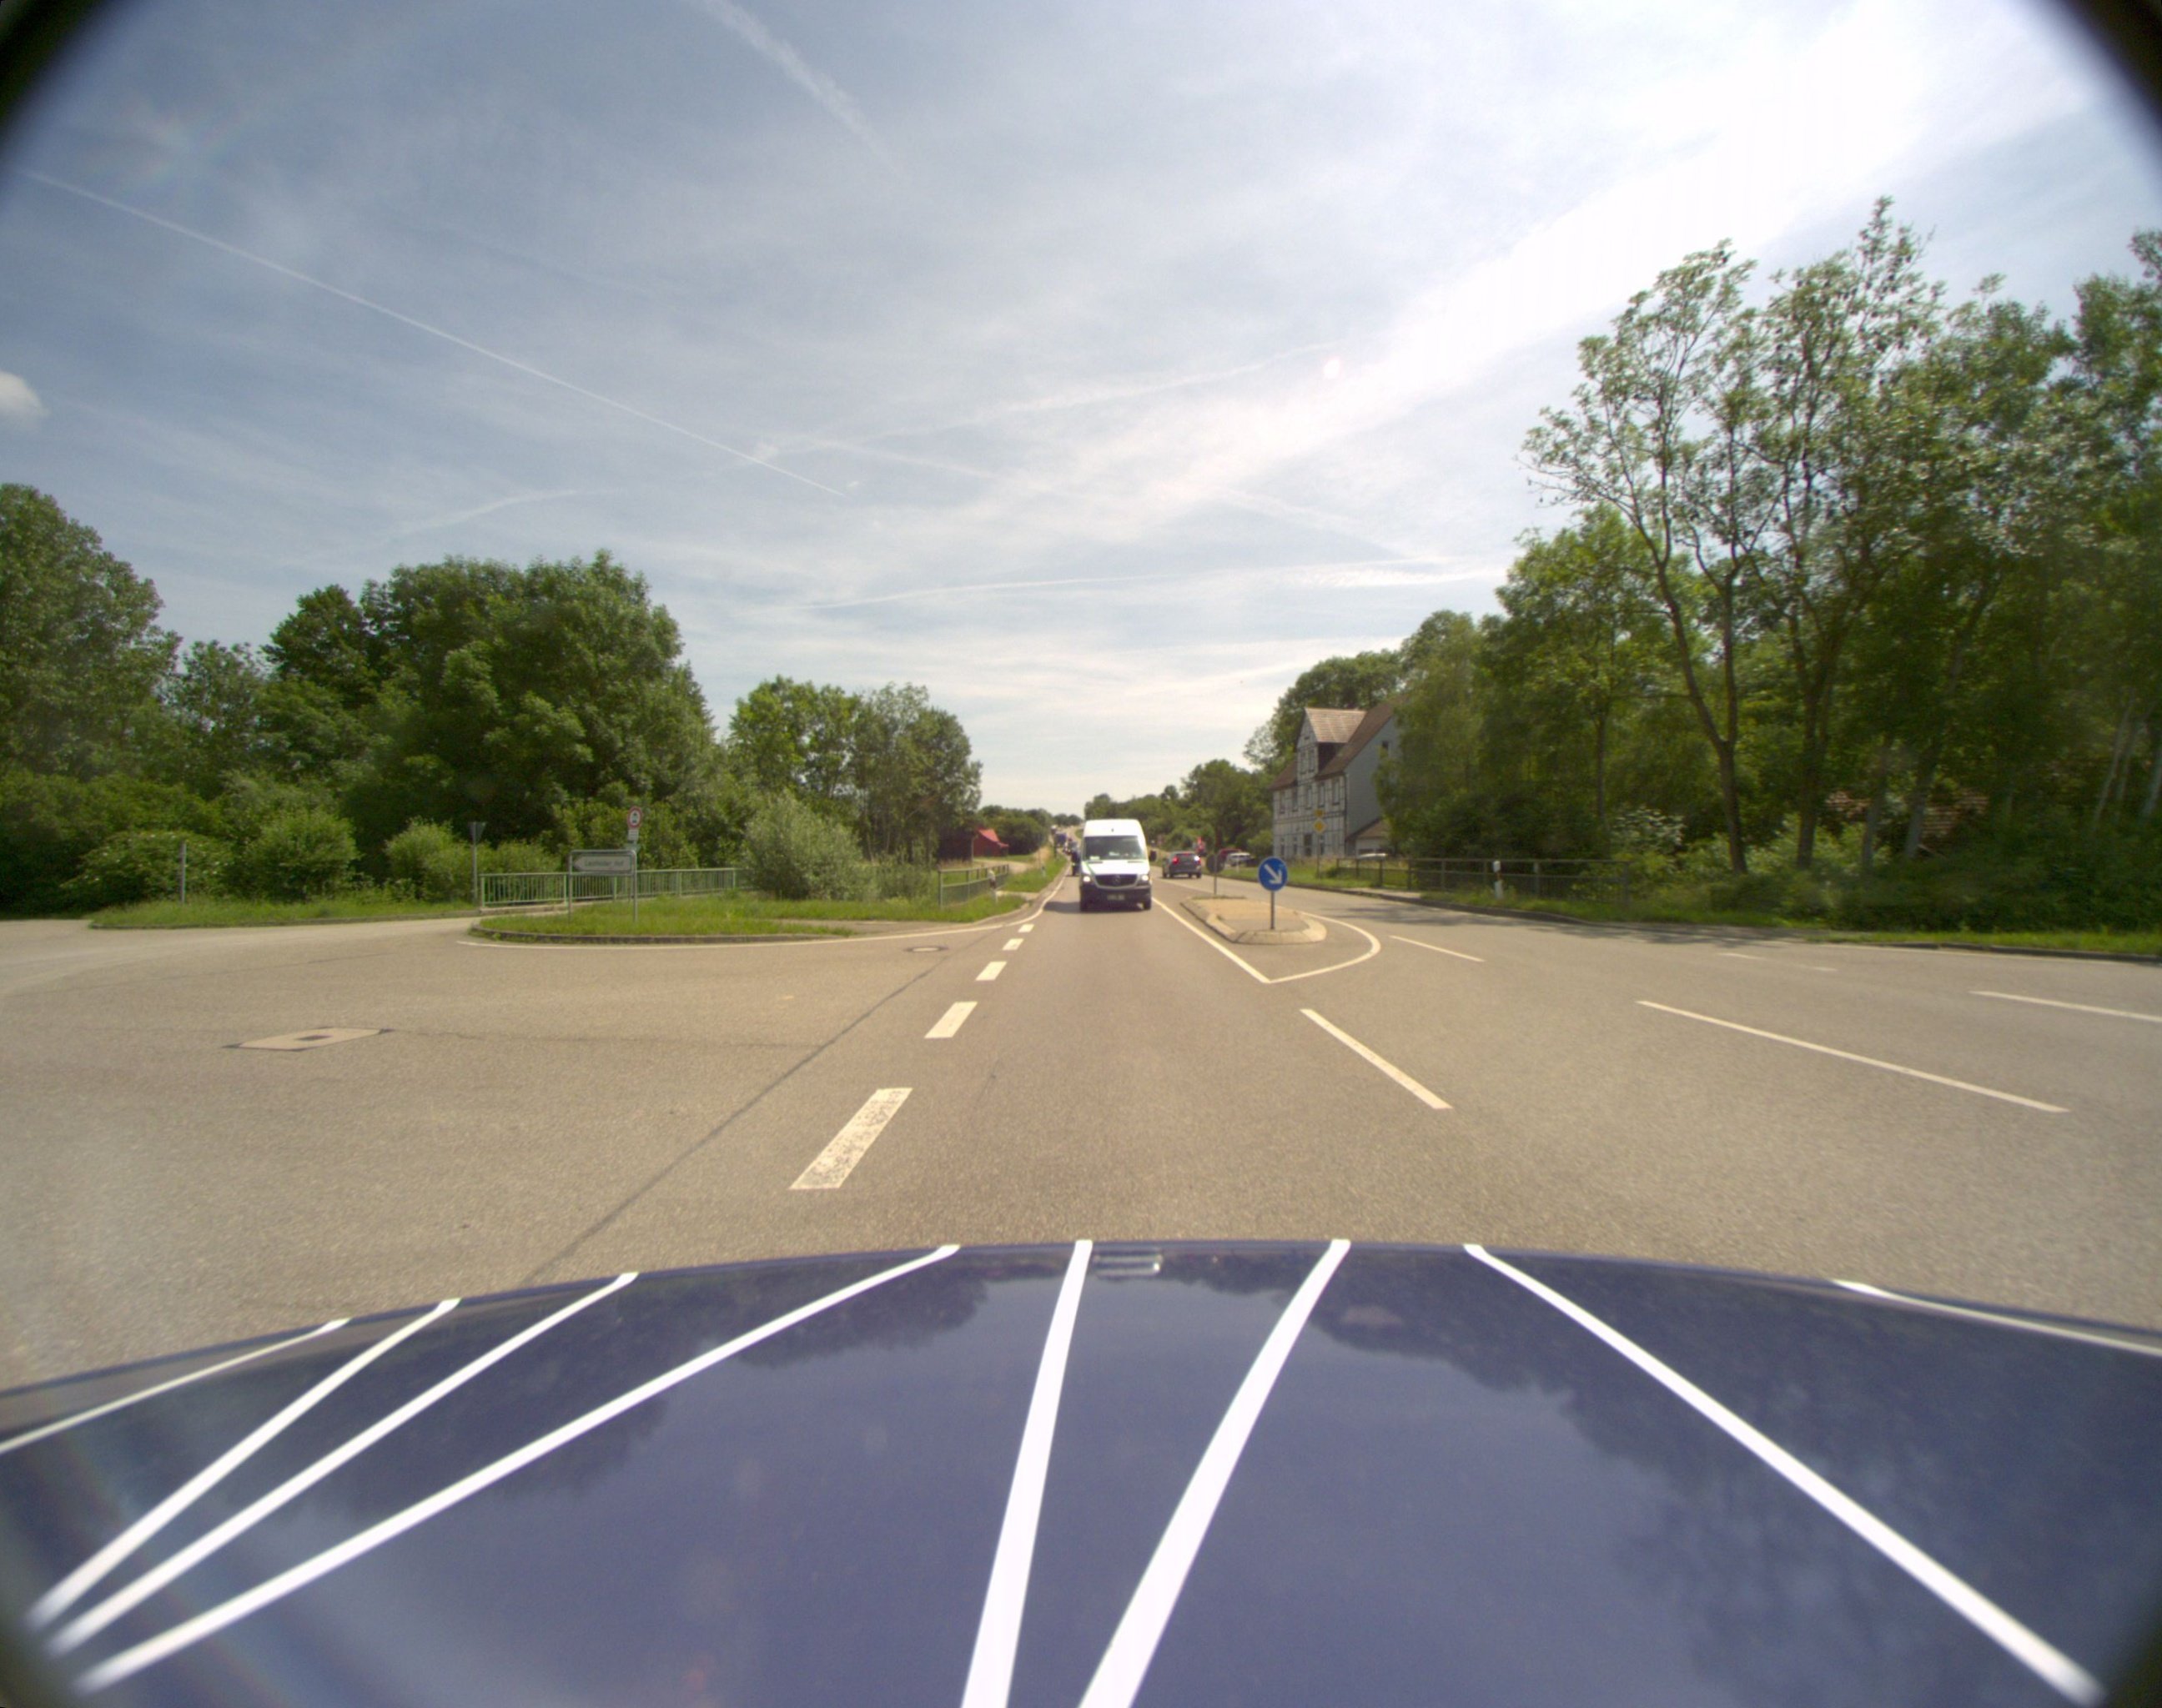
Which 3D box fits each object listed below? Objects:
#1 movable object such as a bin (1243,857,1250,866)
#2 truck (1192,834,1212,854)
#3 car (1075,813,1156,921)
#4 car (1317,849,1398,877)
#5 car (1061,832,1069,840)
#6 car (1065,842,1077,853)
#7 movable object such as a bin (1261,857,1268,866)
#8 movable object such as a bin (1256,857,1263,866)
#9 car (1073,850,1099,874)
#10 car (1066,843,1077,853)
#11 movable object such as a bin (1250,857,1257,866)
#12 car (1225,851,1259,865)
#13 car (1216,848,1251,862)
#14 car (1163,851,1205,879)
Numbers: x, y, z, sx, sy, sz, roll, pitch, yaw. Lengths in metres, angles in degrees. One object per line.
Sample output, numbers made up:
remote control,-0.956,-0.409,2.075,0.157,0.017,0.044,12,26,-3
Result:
movable object such as a bin,18.118,0.852,83.139,0.505,0.931,0.654,-2,2,-8
truck,18.455,-1.540,116.455,2.031,2.947,6.771,-2,2,1
car,0.845,0.306,21.692,1.961,2.655,5.680,-1,0,0
car,18.292,0.597,50.435,4.677,1.710,1.861,-1,-1,-4
car,-4.396,-5.010,209.654,1.998,2.166,3.999,-2,1,0
car,-1.630,-1.017,126.197,1.849,1.693,4.240,0,2,-2
movable object such as a bin,20.114,0.817,83.189,0.505,0.971,0.654,-2,2,-8
movable object such as a bin,19.513,0.819,83.099,0.505,0.966,0.654,-2,2,-8
car,0.343,0.565,55.339,1.848,1.692,4.243,0,0,0
car,-1.745,-1.097,140.564,1.849,1.693,4.240,0,2,-2
movable object such as a bin,18.865,0.832,83.086,0.505,0.964,0.654,-2,2,-8
car,18.131,0.461,85.635,3.387,1.457,1.609,-2,1,-6
car,19.156,0.110,95.646,4.037,1.609,1.832,-1,2,1
car,6.368,0.647,47.369,1.953,1.644,4.431,0,0,0
